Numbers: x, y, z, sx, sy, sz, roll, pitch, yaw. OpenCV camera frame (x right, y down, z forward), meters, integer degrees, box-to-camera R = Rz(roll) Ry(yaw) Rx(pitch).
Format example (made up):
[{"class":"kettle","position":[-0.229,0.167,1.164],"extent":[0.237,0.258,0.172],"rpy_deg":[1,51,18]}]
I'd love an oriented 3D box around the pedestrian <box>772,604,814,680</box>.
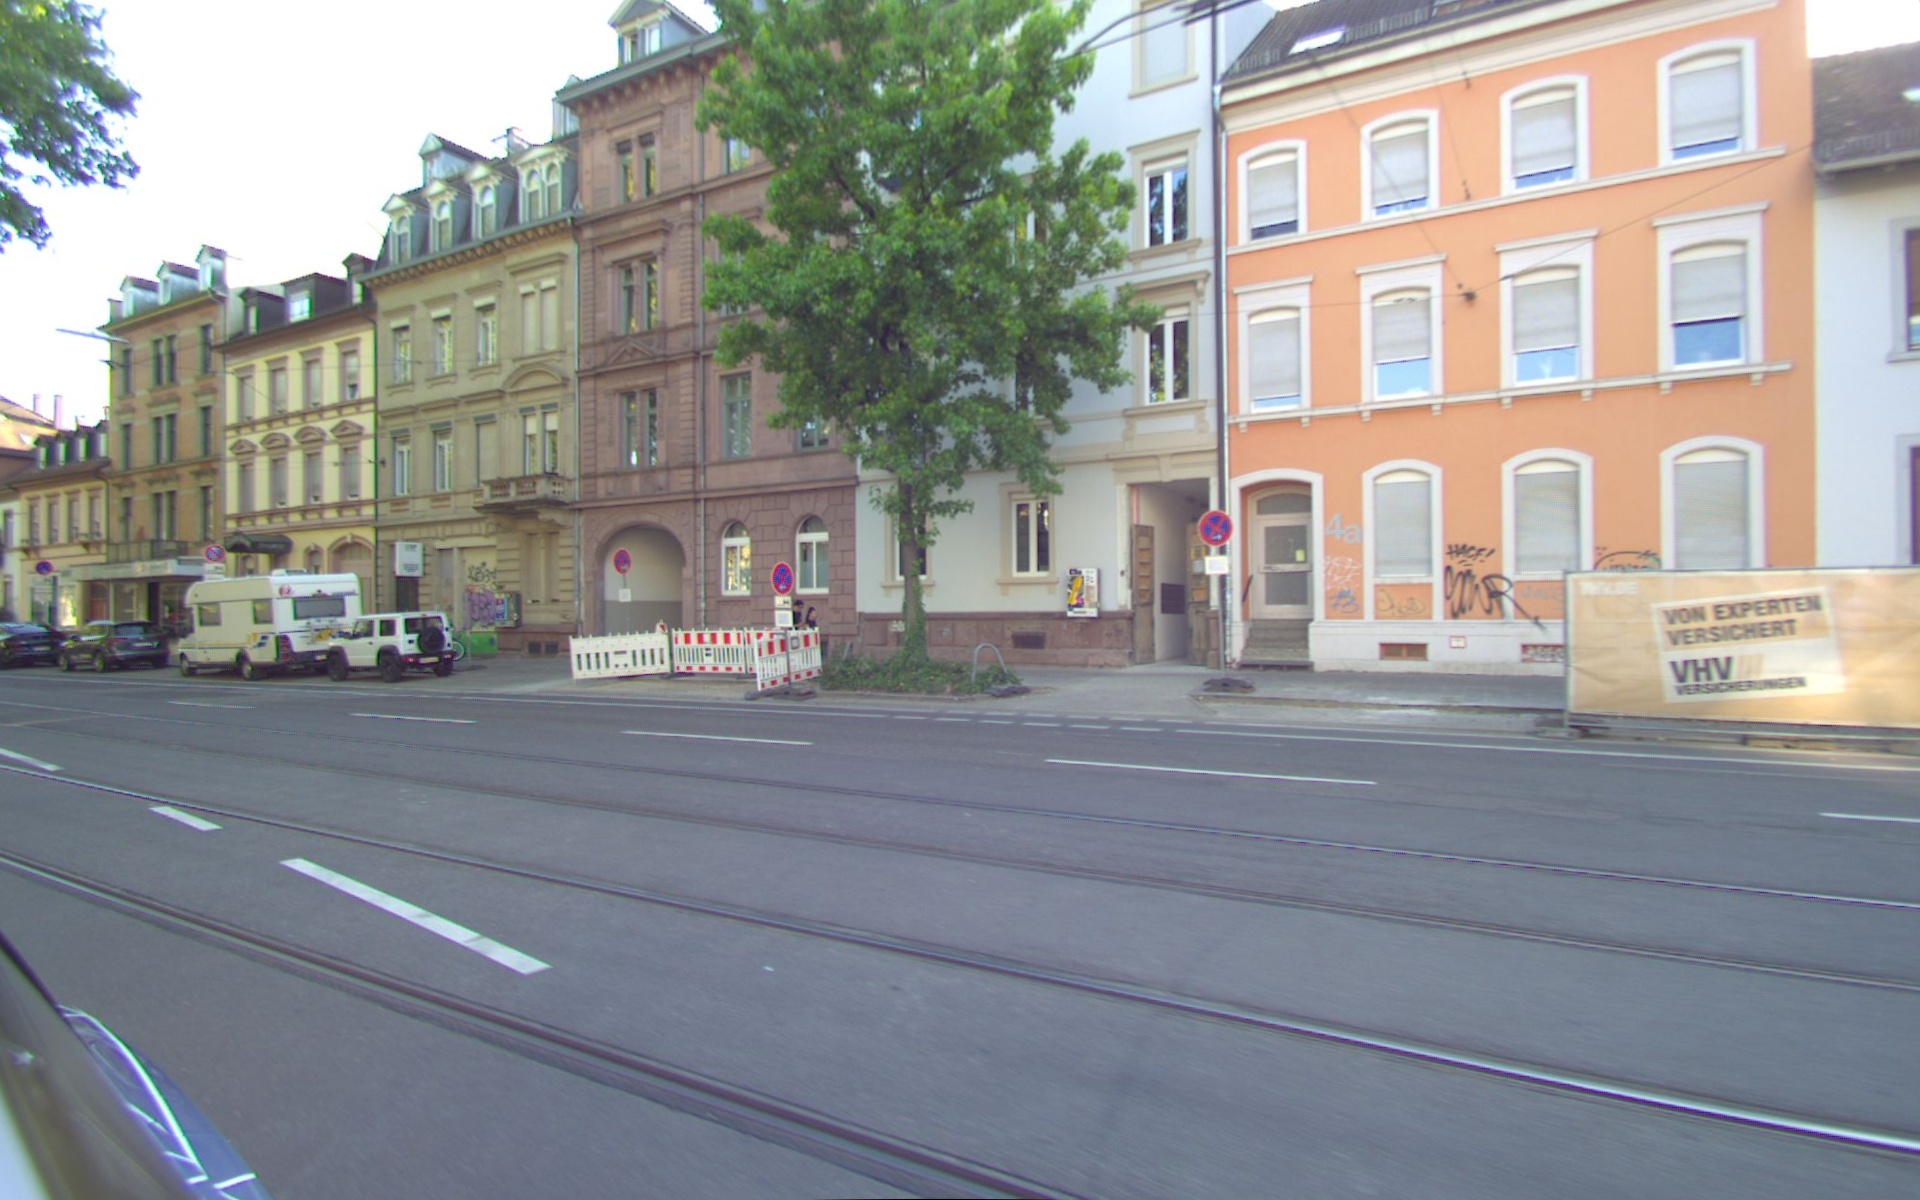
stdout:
[{"class":"pedestrian","position":[-3.720,0.926,22.523],"extent":[0.683,1.666,0.565],"rpy_deg":[-1,1,23]}]

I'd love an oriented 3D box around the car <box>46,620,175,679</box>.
[{"class":"car","position":[-28.360,1.625,33.768],"extent":[4.424,1.718,1.799],"rpy_deg":[-1,2,30]}]

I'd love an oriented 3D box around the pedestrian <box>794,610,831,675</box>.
[{"class":"pedestrian","position":[-3.412,0.979,23.446],"extent":[0.605,1.472,0.572],"rpy_deg":[-1,1,29]}]

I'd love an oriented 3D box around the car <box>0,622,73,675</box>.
[{"class":"car","position":[-35.044,1.760,37.333],"extent":[4.730,1.715,1.981],"rpy_deg":[-1,2,30]}]

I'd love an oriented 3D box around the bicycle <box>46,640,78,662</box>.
[{"class":"bicycle","position":[-42.097,2.376,47.430],"extent":[2.112,0.976,0.500],"rpy_deg":[-1,-2,31]}]

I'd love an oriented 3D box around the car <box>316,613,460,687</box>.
[{"class":"car","position":[-14.728,1.265,26.065],"extent":[3.355,1.718,1.621],"rpy_deg":[-1,2,28]}]

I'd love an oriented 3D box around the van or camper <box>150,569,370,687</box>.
[{"class":"van or camper","position":[-20.167,0.760,29.035],"extent":[7.226,2.969,2.402],"rpy_deg":[-1,2,32]}]

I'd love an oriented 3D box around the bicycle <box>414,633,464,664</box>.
[{"class":"bicycle","position":[-16.177,1.506,31.431],"extent":[1.786,0.931,0.574],"rpy_deg":[-1,-1,33]}]
